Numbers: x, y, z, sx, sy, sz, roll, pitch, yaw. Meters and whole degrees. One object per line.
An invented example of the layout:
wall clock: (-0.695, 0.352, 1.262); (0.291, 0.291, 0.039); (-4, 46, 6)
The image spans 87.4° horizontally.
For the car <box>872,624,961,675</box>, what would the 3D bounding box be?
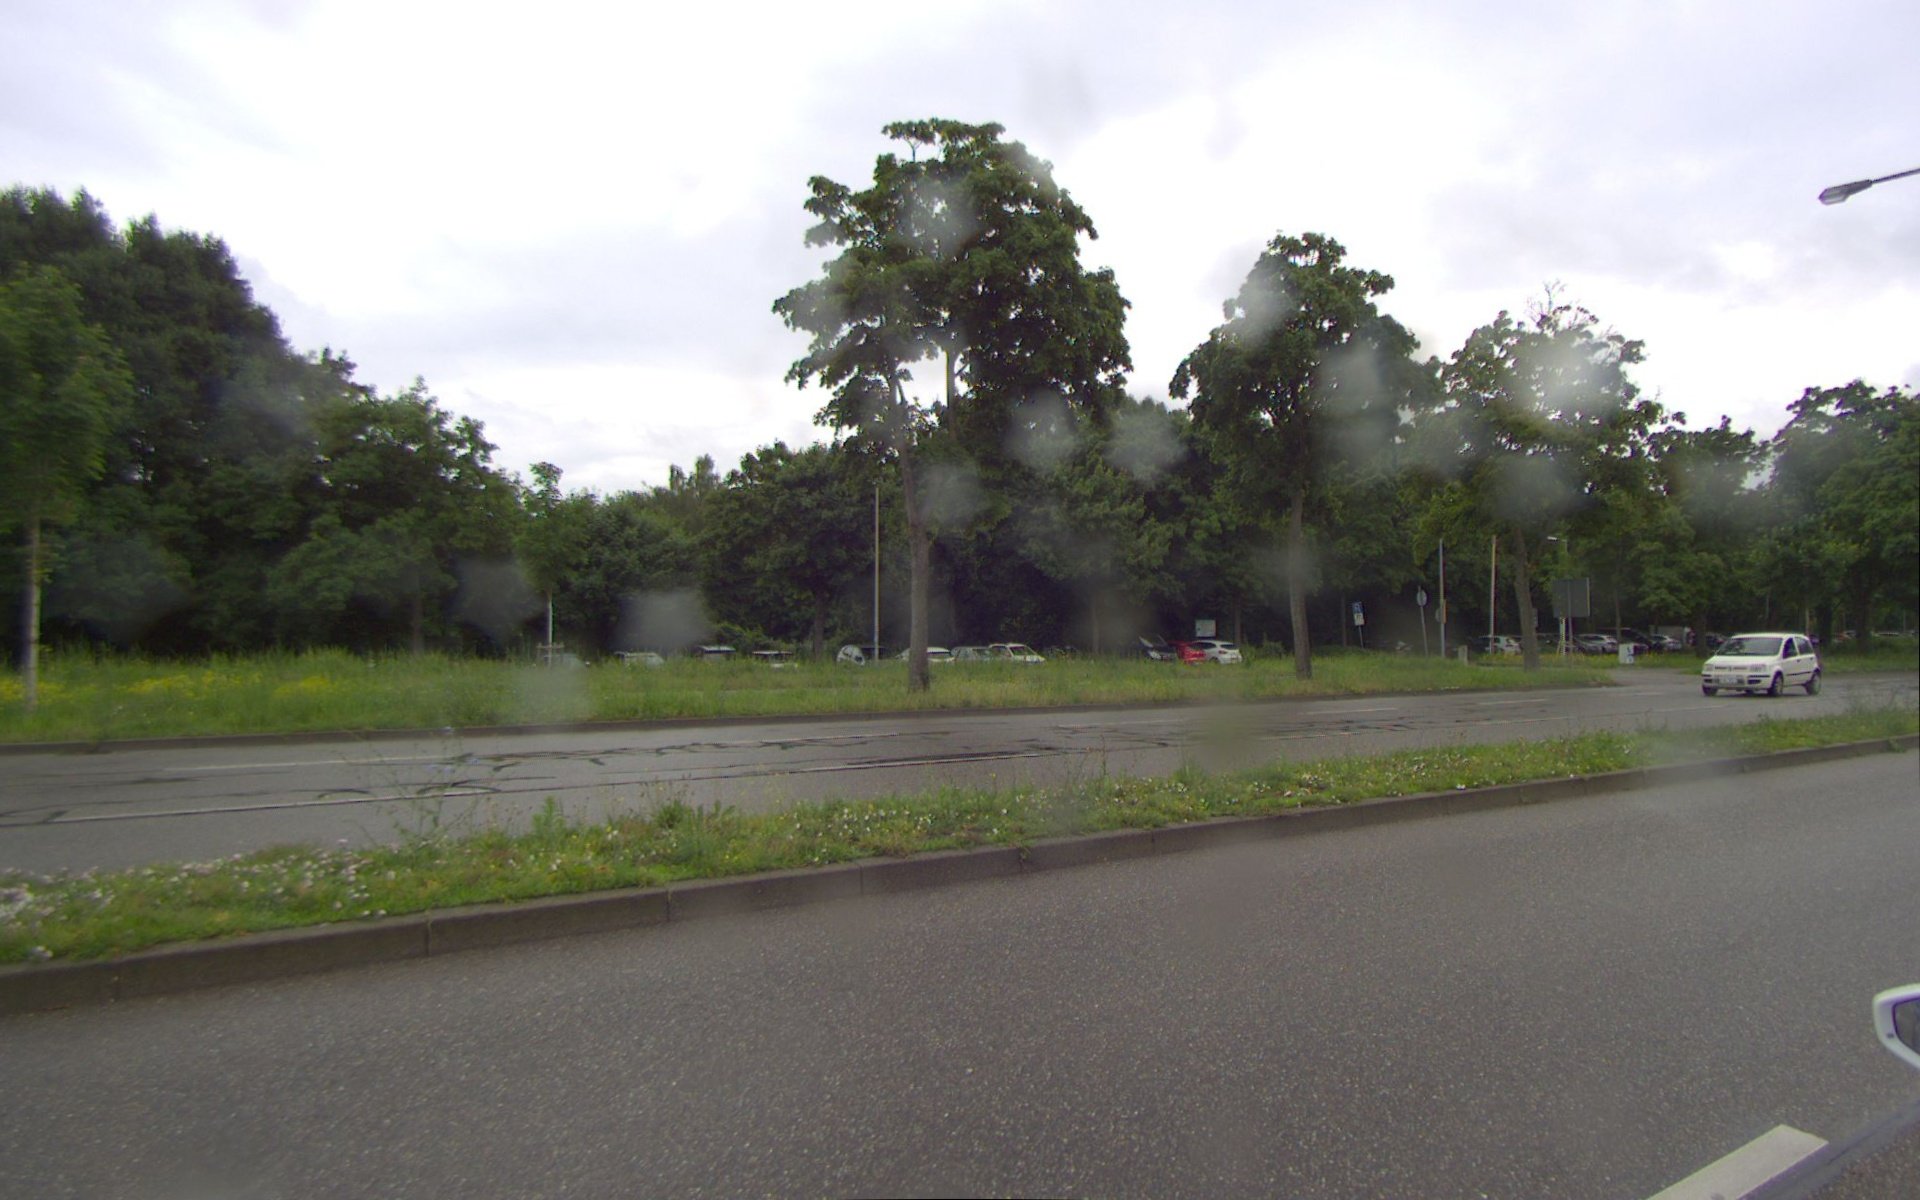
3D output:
car: (-1.892, 2.066, 42.664); (1.980, 2.040, 3.961); (1, -2, -35)

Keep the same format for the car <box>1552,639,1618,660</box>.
car: (46.051, 3.648, 74.070); (1.509, 1.471, 3.810); (1, -2, -35)

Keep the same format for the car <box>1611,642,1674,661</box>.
car: (54.160, 4.069, 79.764); (1.509, 1.471, 3.810); (1, -2, -35)

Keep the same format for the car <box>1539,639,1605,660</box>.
car: (44.185, 3.554, 72.531); (1.509, 1.471, 3.810); (1, -2, -35)

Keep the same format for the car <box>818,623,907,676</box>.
car: (-4.044, 1.988, 41.136); (1.980, 2.040, 3.961); (1, -2, -35)

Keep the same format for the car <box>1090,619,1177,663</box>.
car: (8.415, 1.982, 49.031); (1.980, 2.040, 3.961); (1, -2, -35)

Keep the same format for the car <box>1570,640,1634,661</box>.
car: (48.213, 3.764, 75.476); (1.509, 1.471, 3.810); (1, -2, -35)

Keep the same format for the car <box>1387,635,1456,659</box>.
car: (28.947, 2.919, 63.127); (1.473, 1.445, 3.710); (1, -2, -35)

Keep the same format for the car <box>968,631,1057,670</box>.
car: (2.321, 2.236, 45.150); (1.980, 1.639, 3.961); (2, -2, -35)

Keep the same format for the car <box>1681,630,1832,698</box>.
car: (20.499, 1.612, 25.832); (3.952, 1.574, 1.675); (2, -1, -29)

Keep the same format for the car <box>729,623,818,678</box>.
car: (-7.382, 1.922, 39.526); (1.980, 2.040, 3.961); (1, -2, -35)

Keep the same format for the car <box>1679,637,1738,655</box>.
car: (62.944, 3.853, 84.471); (3.796, 1.471, 1.515); (-1, -2, 45)

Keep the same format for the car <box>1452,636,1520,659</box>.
car: (35.222, 3.143, 67.350); (1.509, 1.471, 3.810); (1, -2, -35)

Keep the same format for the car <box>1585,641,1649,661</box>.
car: (50.144, 3.871, 76.734); (1.509, 1.471, 3.810); (1, -2, -35)

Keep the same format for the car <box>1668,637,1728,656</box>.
car: (61.023, 3.856, 83.115); (1.513, 1.471, 3.801); (2, -2, -42)

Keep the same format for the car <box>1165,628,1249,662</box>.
car: (12.649, 2.261, 51.585); (1.893, 1.661, 3.961); (1, -2, -35)

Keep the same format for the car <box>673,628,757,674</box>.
car: (-9.349, 1.895, 38.105); (1.805, 1.661, 3.961); (1, -2, -35)

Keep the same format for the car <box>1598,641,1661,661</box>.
car: (52.107, 3.966, 78.210); (1.509, 1.471, 3.810); (1, -2, -35)

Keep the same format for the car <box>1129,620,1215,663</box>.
car: (10.591, 2.058, 50.330); (1.980, 2.040, 3.961); (1, -2, -35)

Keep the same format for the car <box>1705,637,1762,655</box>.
car: (66.824, 3.988, 86.821); (3.796, 1.471, 1.515); (-1, -2, 45)

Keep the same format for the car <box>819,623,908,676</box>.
car: (-3.998, 1.994, 41.183); (1.980, 2.040, 3.961); (1, -2, -35)

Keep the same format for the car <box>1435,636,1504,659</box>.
car: (33.330, 3.079, 65.804); (1.509, 1.471, 3.810); (1, -2, -35)

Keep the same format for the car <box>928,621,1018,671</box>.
car: (0.525, 1.958, 43.731); (1.980, 2.040, 3.961); (1, -2, -35)

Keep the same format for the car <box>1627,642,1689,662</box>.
car: (56.230, 4.167, 80.939); (1.509, 1.471, 3.810); (1, -2, -35)

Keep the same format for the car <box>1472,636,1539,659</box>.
car: (37.372, 3.248, 68.914); (1.509, 1.471, 3.810); (1, -2, -35)
